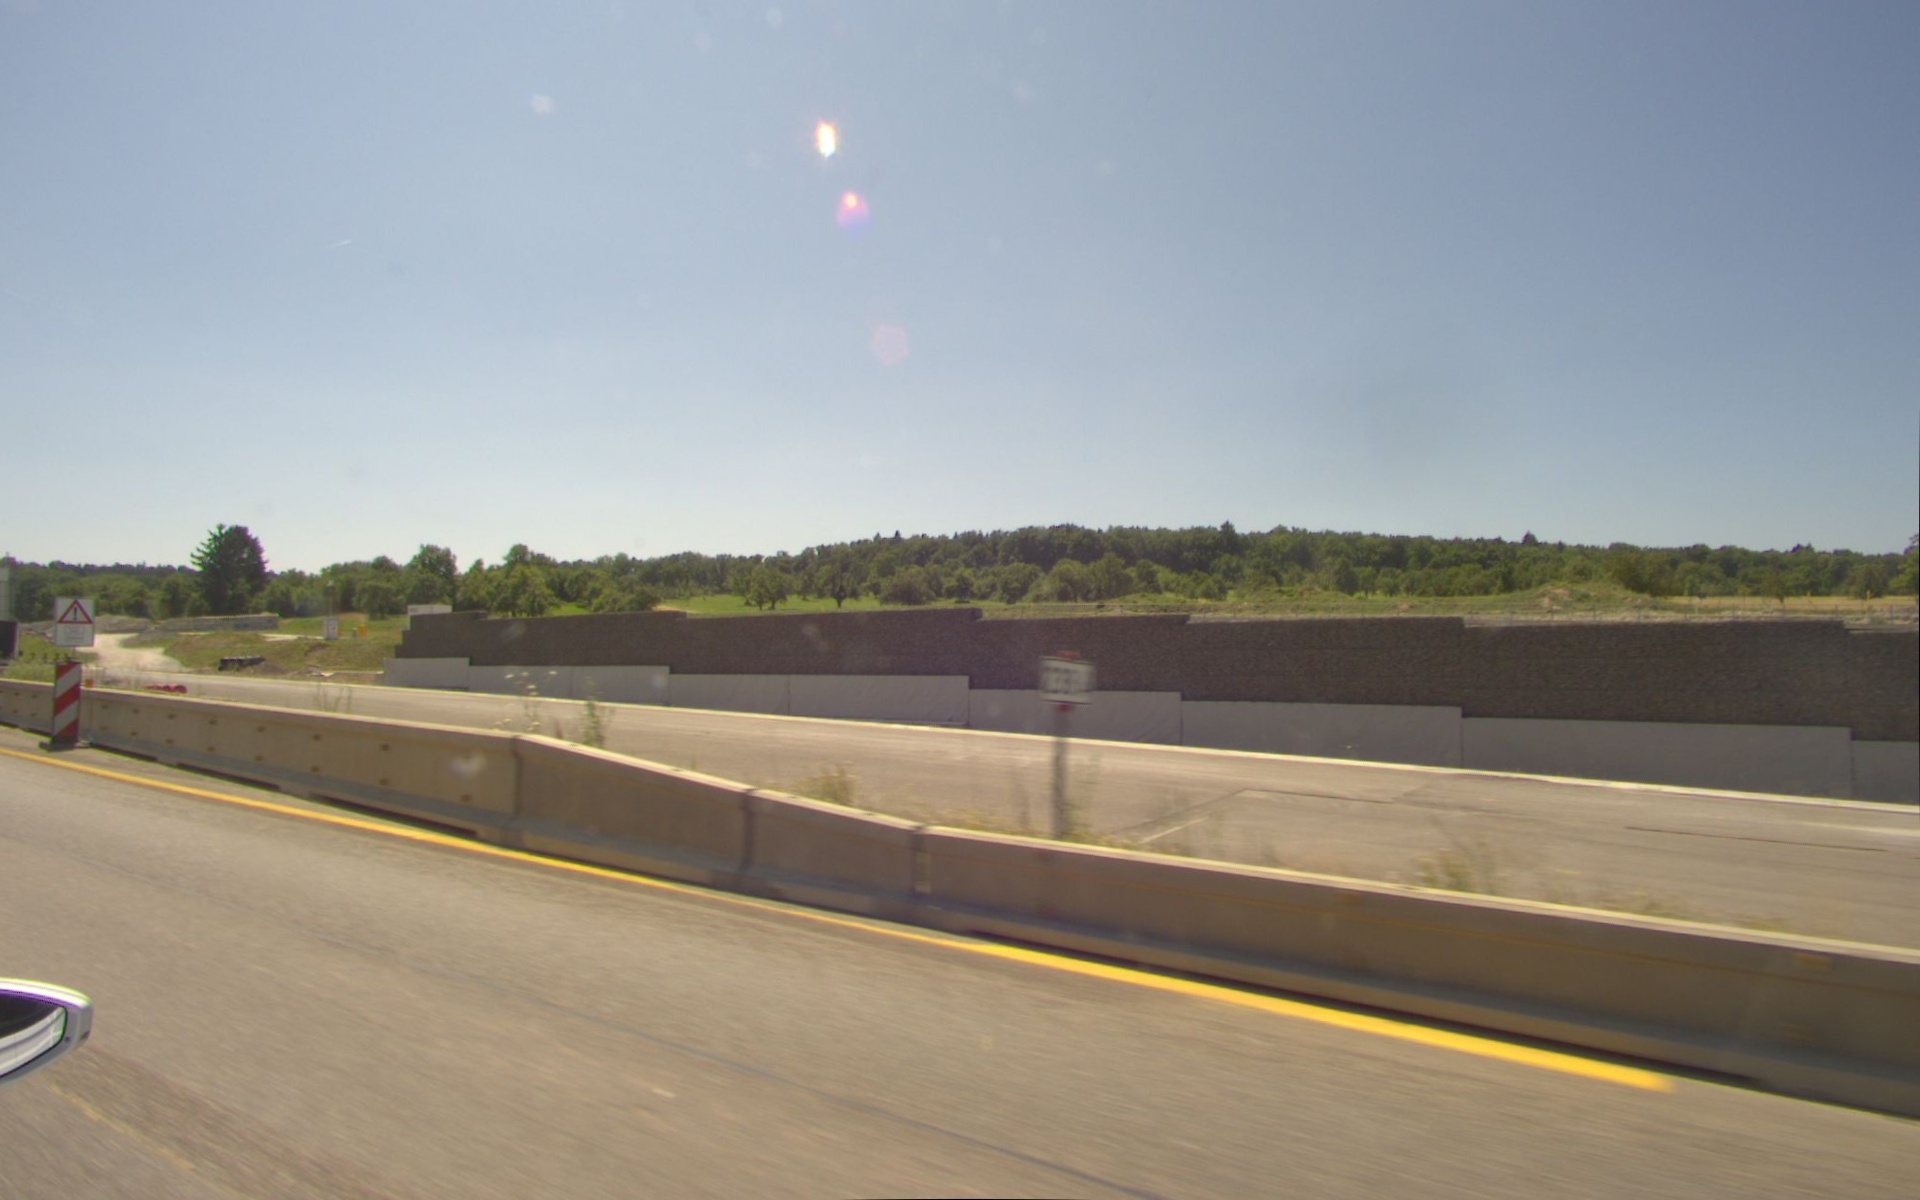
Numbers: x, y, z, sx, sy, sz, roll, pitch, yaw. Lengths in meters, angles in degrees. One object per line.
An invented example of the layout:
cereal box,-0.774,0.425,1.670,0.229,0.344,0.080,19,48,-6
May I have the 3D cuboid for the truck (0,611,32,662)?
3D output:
truck,-58.052,2.224,60.366,2.652,2.983,5.576,1,-3,-39
